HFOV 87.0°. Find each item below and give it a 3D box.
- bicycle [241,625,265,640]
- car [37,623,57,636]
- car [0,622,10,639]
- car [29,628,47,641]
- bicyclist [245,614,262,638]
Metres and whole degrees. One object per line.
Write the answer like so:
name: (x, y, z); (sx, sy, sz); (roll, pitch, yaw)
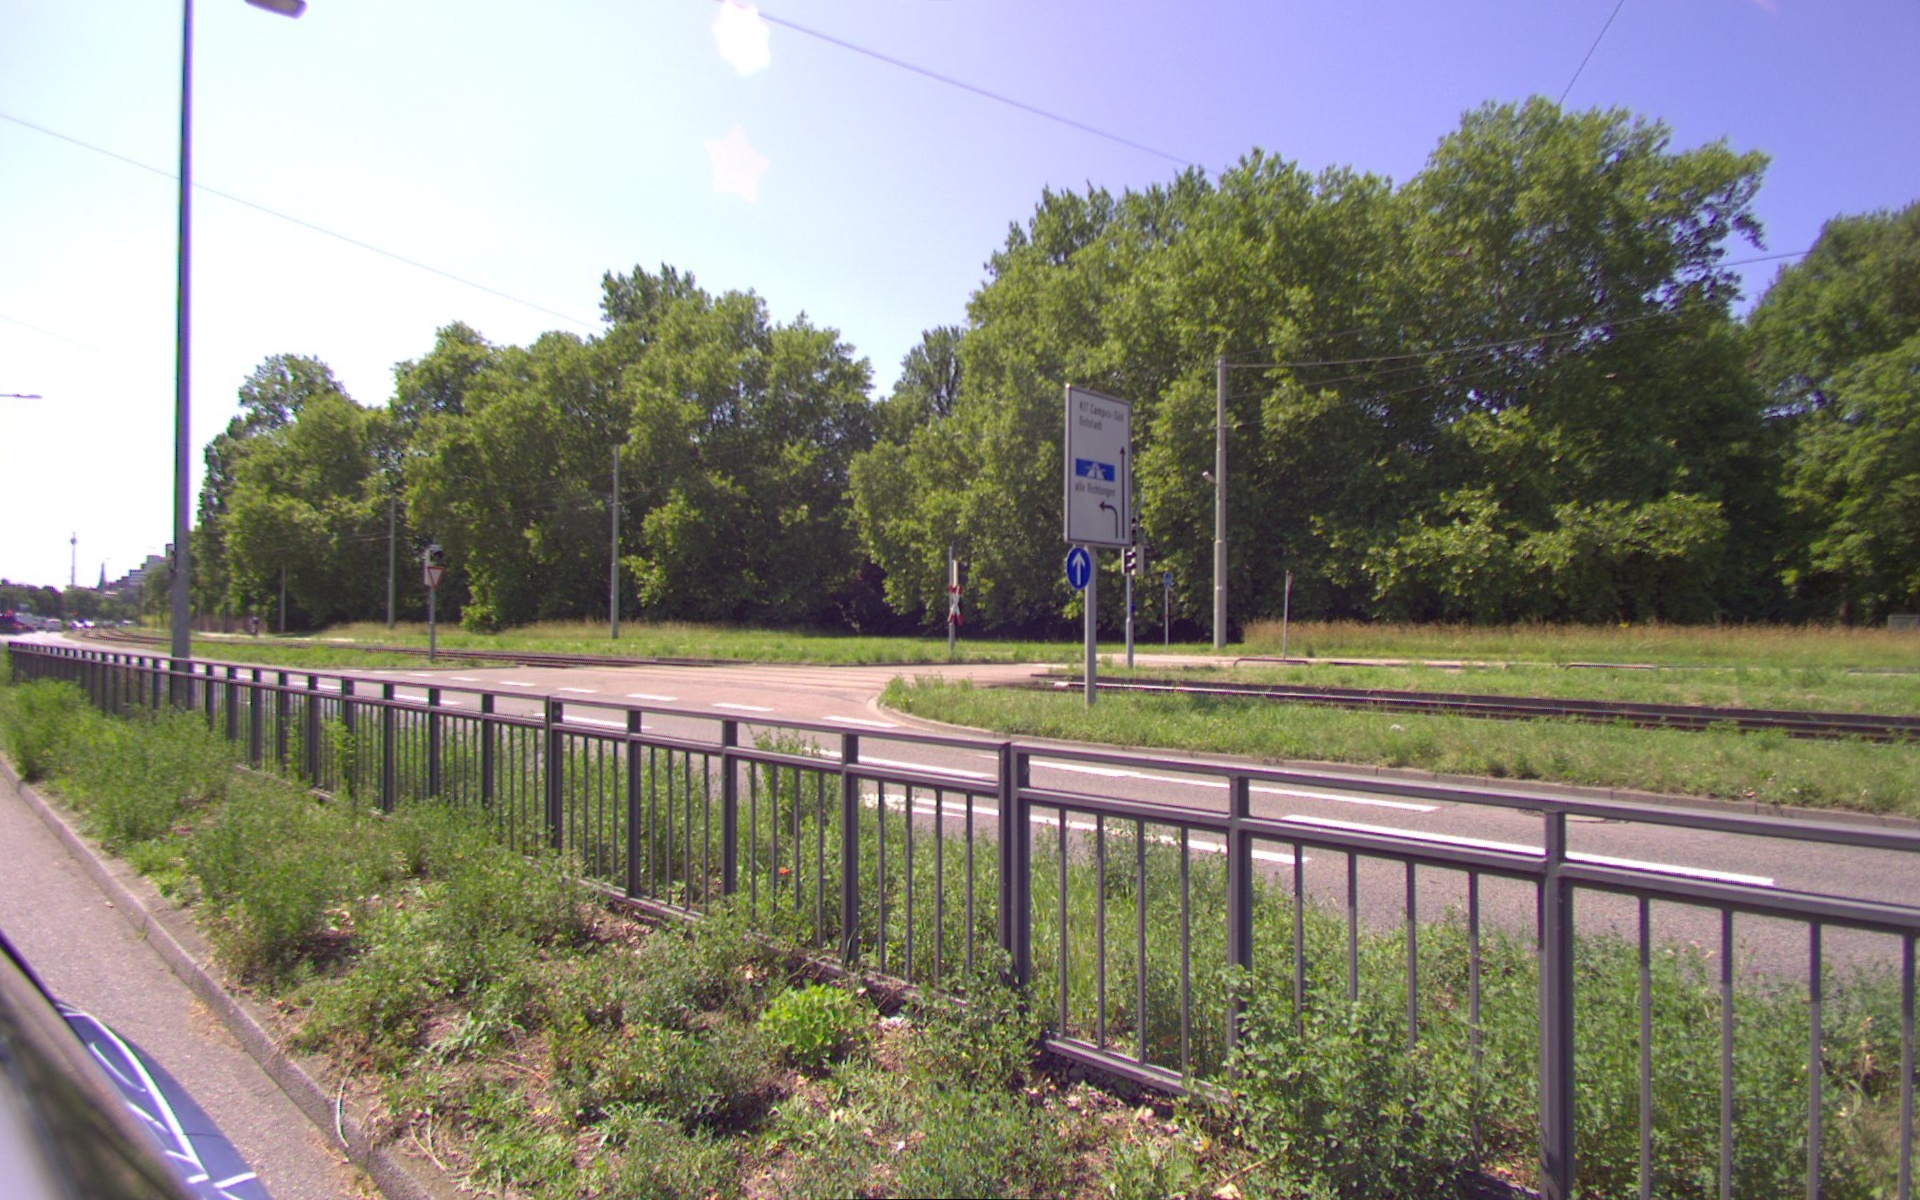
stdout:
bicycle: (-53.782, 2.465, 76.966); (2.785, 1.171, 0.851); (-1, -2, 41)
car: (-136.774, 4.378, 151.589); (1.970, 1.871, 4.003); (1, -2, -44)
car: (-107.711, 3.361, 113.216); (1.970, 1.871, 4.004); (1, -2, -43)
car: (-141.823, 5.267, 155.649); (1.970, 1.871, 4.003); (1, -2, -44)
bicyclist: (-53.727, 1.974, 76.961); (1.117, 1.820, 0.851); (-1, -2, 41)
